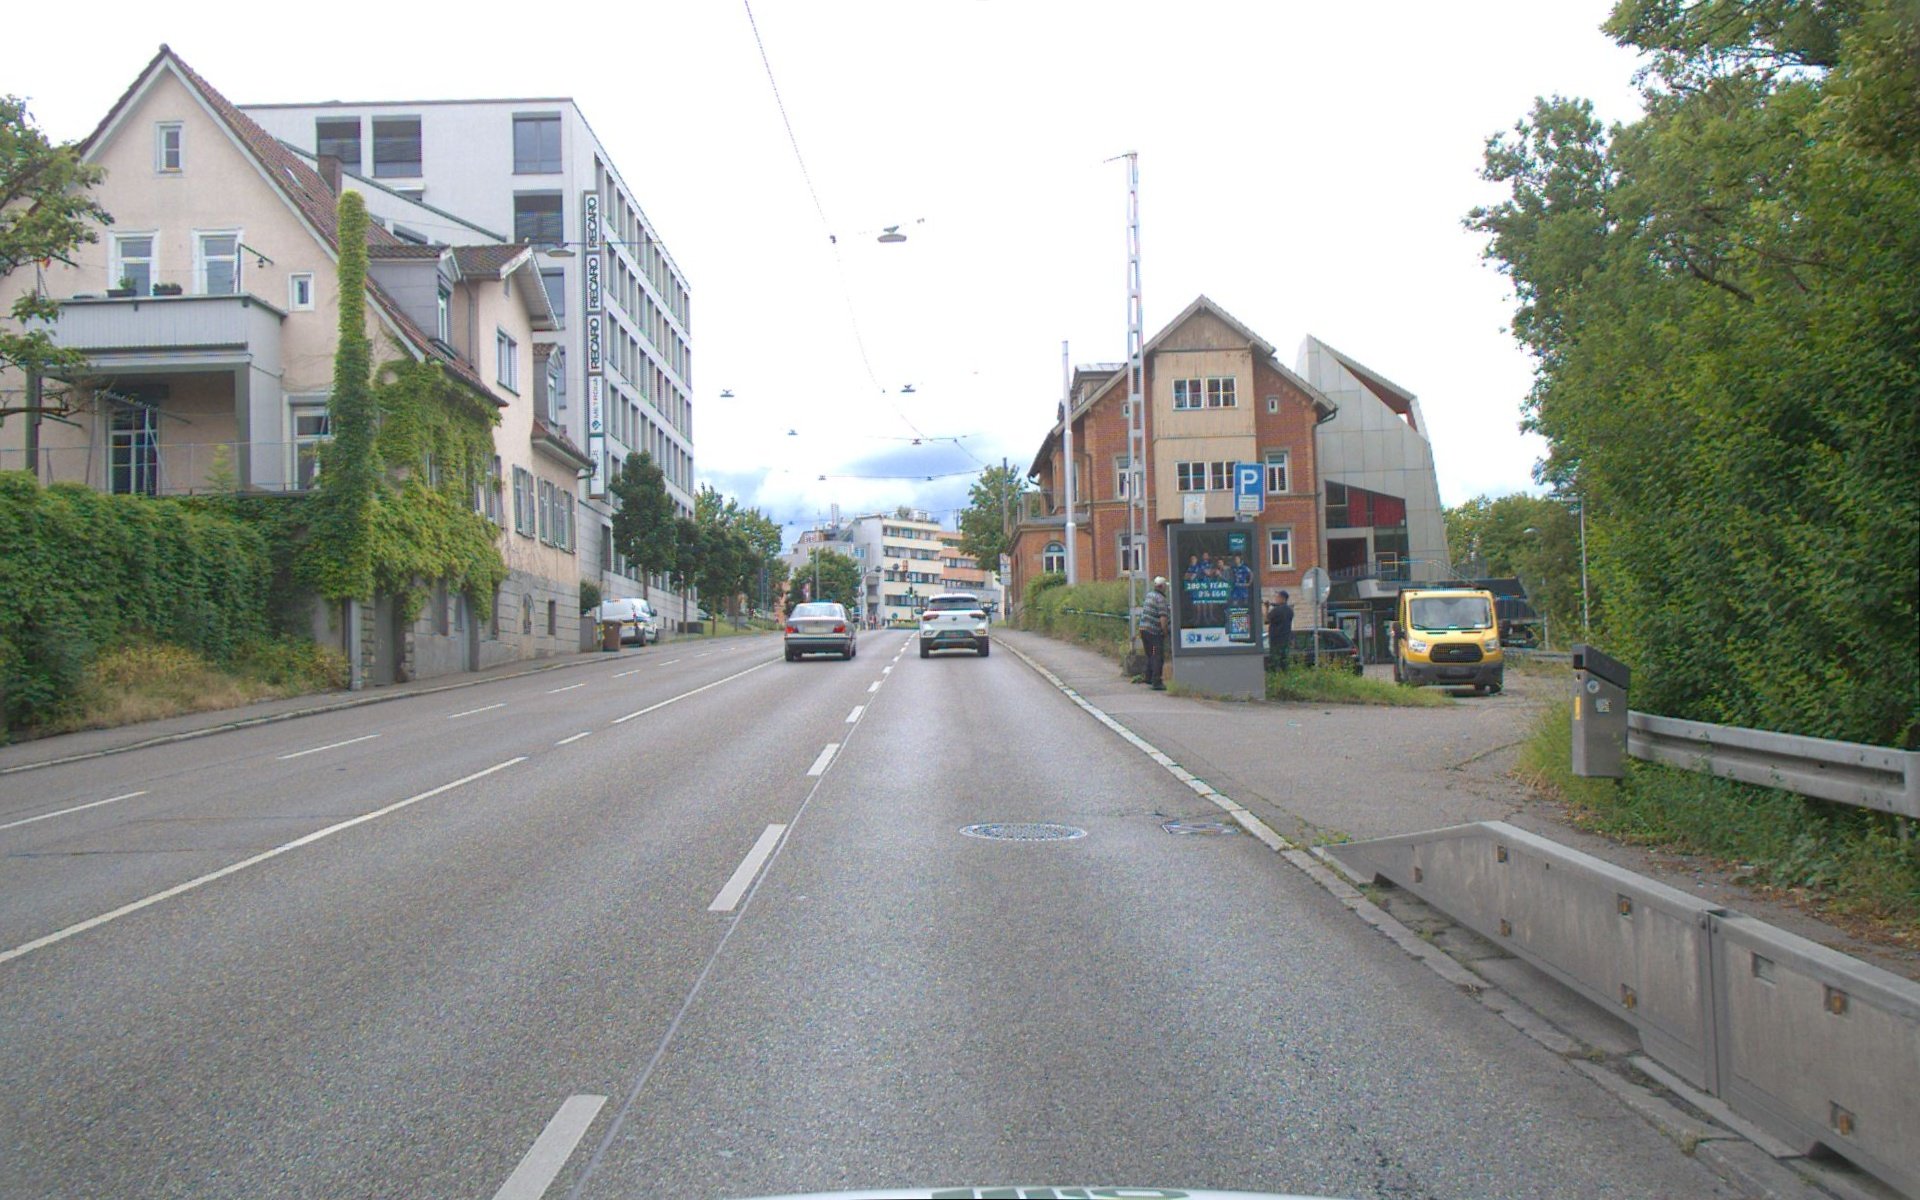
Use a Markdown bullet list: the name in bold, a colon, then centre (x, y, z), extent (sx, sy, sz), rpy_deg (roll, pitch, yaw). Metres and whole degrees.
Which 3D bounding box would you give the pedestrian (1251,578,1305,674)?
- **pedestrian**: centre (5.428, 0.441, 28.223), extent (0.576, 1.599, 0.642), rpy_deg (-3, 0, -26)

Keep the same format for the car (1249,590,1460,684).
- **car**: centre (7.063, 0.653, 29.854), extent (3.415, 1.568, 1.577), rpy_deg (1, 0, 0)

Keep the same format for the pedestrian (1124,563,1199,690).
- **pedestrian**: centre (3.155, 0.403, 25.931), extent (0.799, 1.917, 0.944), rpy_deg (-3, 0, -16)

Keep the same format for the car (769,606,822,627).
- **car**: centre (-12.919, 1.262, 130.068), extent (1.751, 1.571, 3.974), rpy_deg (-2, -2, 43)

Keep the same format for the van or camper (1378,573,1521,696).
- **van or camper**: centre (10.563, 0.658, 36.171), extent (2.169, 2.370, 6.185), rpy_deg (-3, 0, 10)

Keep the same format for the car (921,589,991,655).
- **car**: centre (-0.119, 0.544, 42.456), extent (1.665, 1.575, 3.735), rpy_deg (1, 0, -1)

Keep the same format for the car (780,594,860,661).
- **car**: centre (-3.429, 0.652, 40.965), extent (1.665, 1.542, 3.735), rpy_deg (-2, 0, -1)

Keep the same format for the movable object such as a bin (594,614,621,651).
- **movable object such as a bin**: centre (-11.885, 1.098, 55.783), extent (0.794, 1.210, 0.697), rpy_deg (2, -1, -7)

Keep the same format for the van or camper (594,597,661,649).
- **van or camper**: centre (-13.833, 0.918, 68.977), extent (2.019, 2.002, 4.869), rpy_deg (-2, 0, -3)
